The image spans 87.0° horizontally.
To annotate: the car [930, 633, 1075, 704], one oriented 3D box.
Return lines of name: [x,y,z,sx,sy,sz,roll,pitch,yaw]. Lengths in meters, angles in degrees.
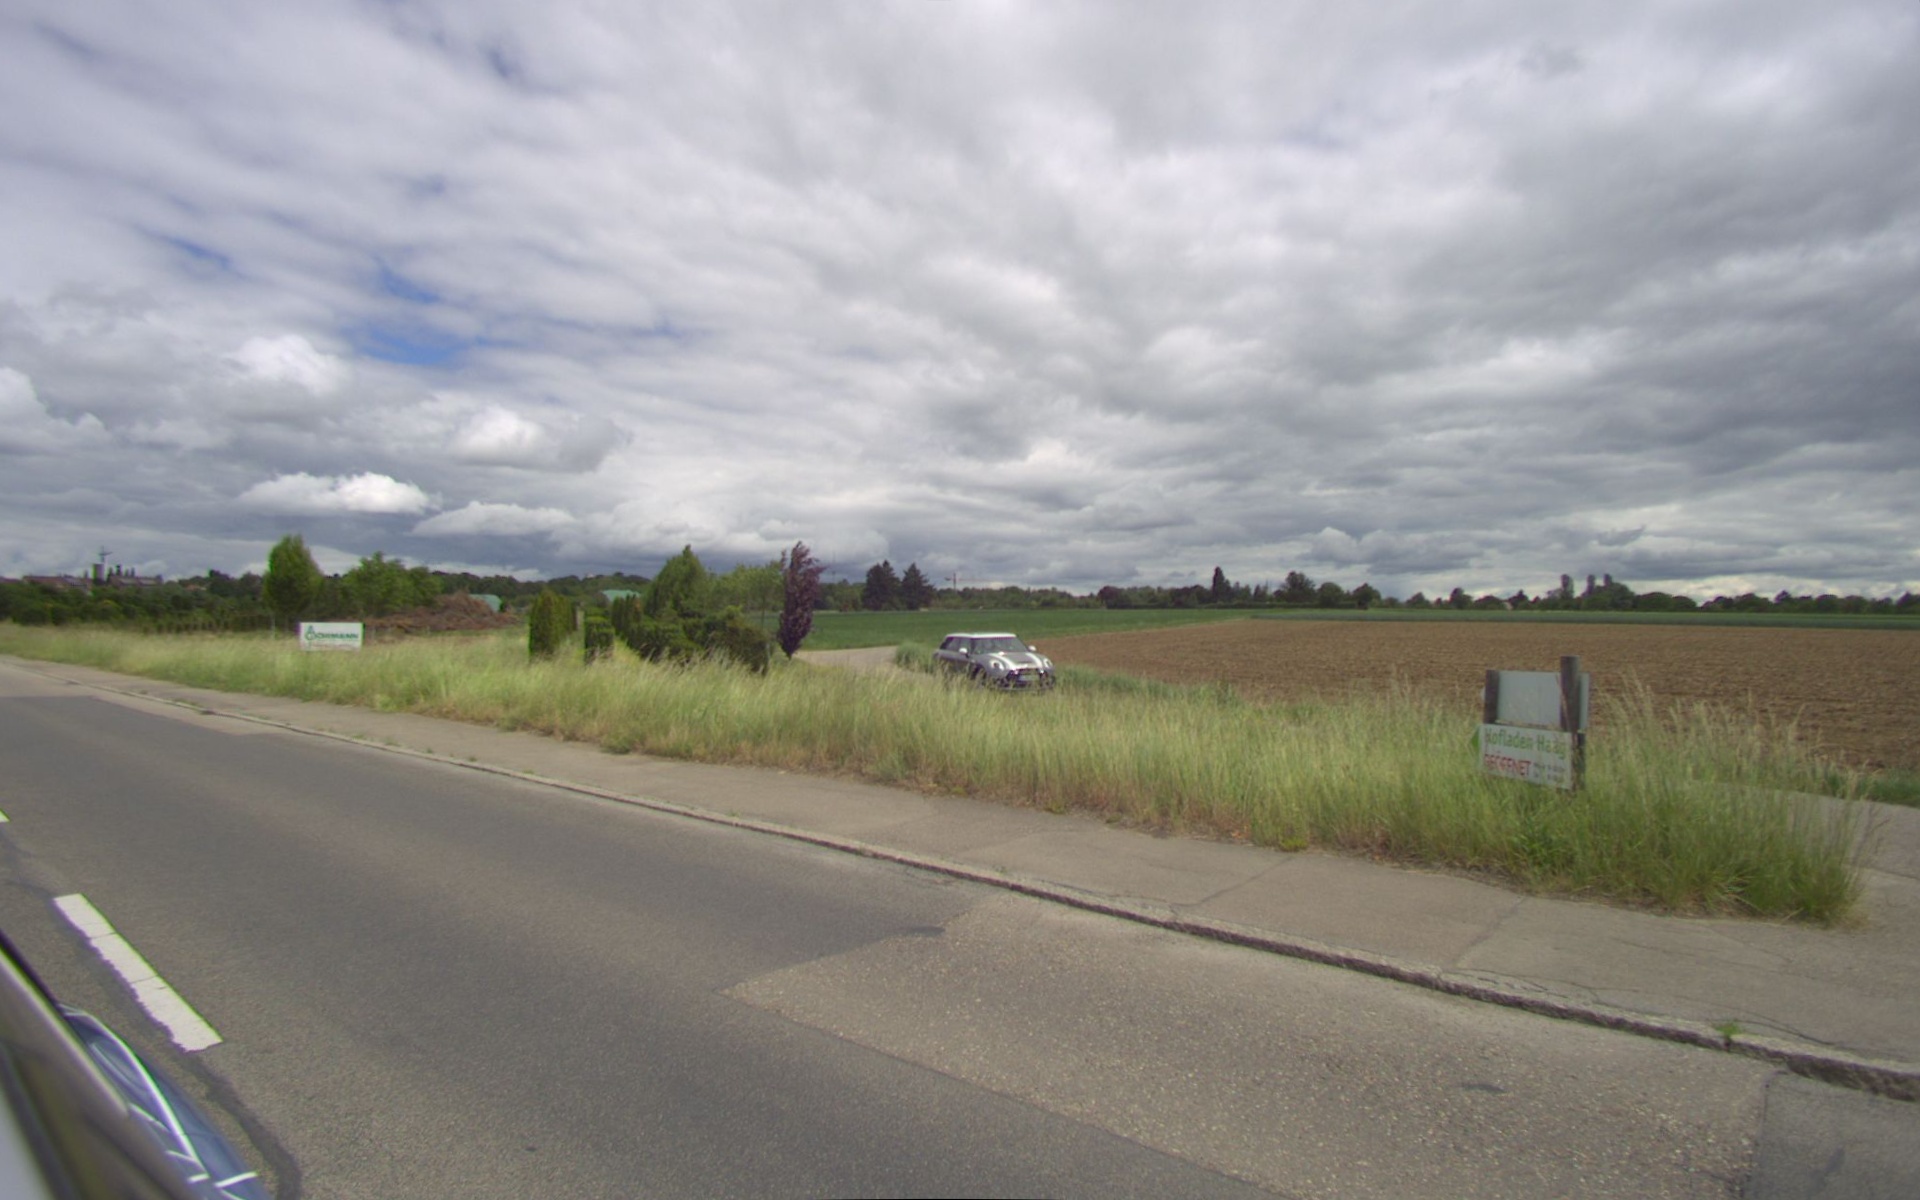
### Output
car: [0.908,1.557,24.083,1.941,1.464,4.013,1,-1,-22]
